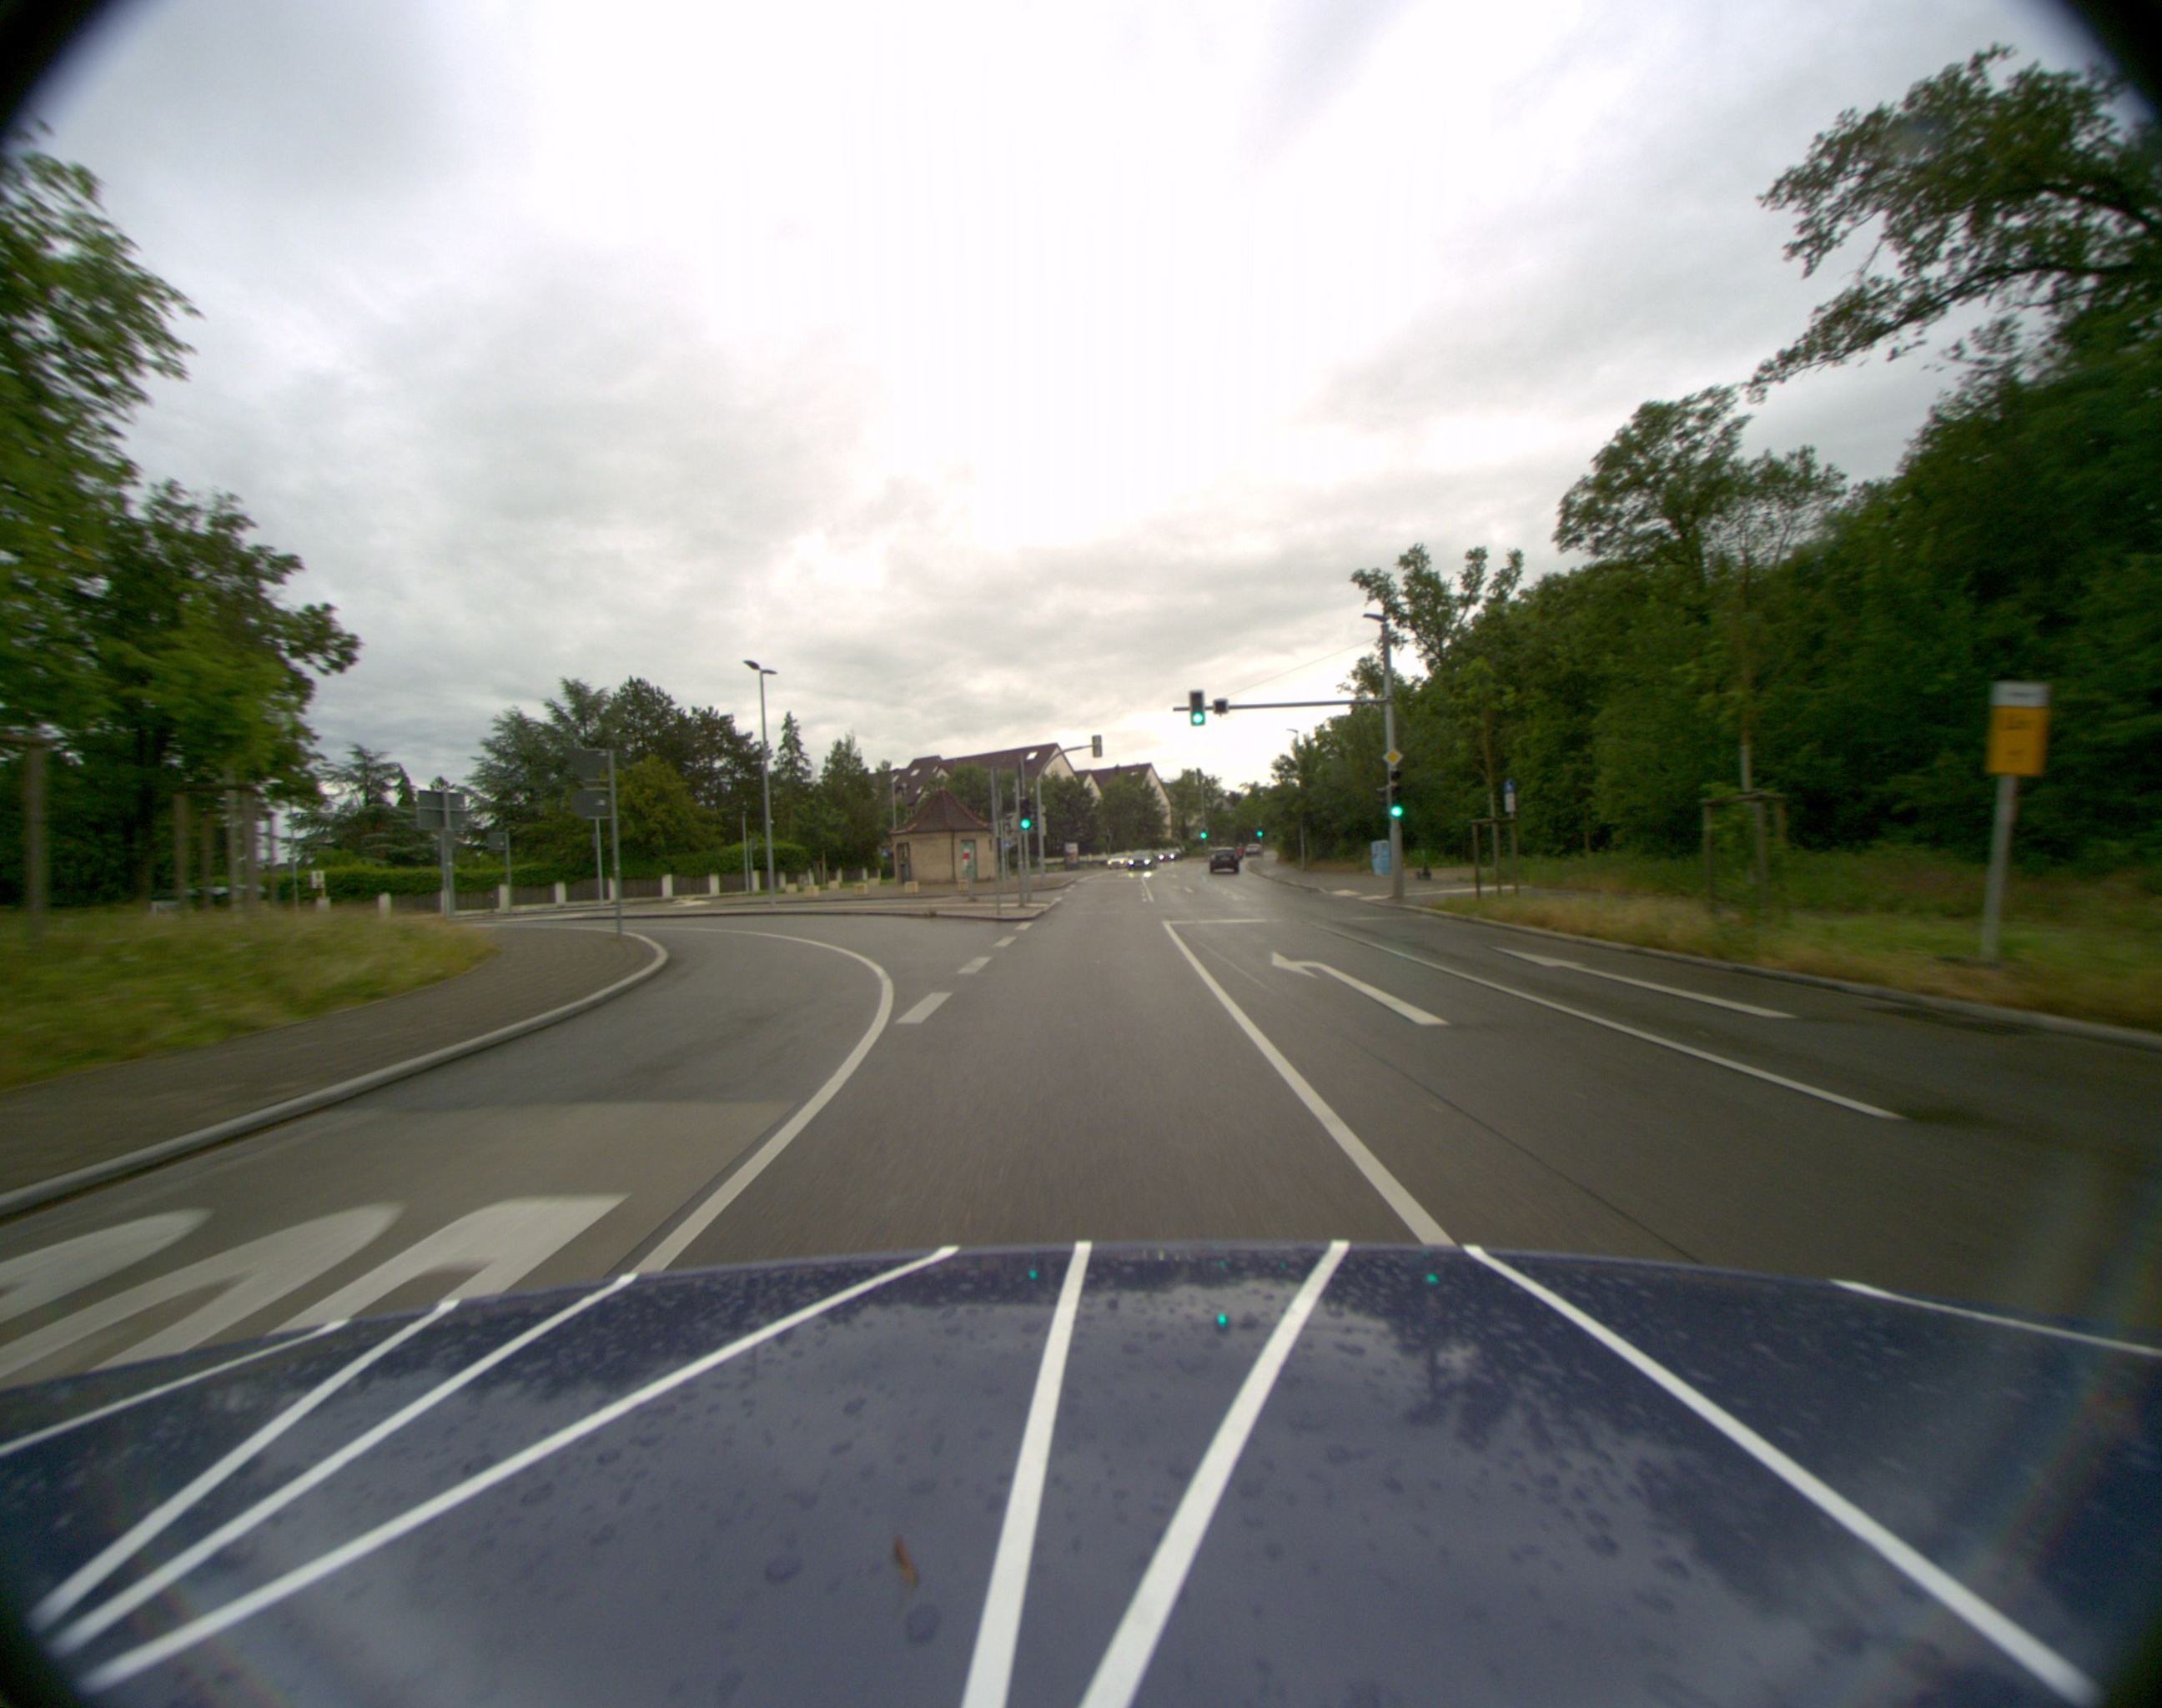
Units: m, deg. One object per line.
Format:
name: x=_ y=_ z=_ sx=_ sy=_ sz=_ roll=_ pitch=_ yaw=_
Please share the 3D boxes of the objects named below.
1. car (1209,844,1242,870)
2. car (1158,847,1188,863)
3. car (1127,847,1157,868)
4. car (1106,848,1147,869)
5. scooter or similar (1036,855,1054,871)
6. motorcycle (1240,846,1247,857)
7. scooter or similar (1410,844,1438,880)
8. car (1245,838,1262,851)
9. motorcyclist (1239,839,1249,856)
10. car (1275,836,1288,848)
car: x=9.122 y=0.153 z=48.168 sx=1.792 sy=1.572 sz=4.563 roll=-2 pitch=1 yaw=8
car: x=9.822 y=0.092 z=80.970 sx=1.942 sy=1.594 sz=4.610 roll=-1 pitch=1 yaw=24
car: x=4.559 y=0.232 z=56.497 sx=1.944 sy=1.446 sz=4.605 roll=-2 pitch=1 yaw=7
car: x=3.936 y=0.350 z=65.084 sx=1.942 sy=1.594 sz=4.610 roll=-1 pitch=1 yaw=24
scooter or similar: x=-3.186 y=0.797 z=66.639 sx=1.350 sy=1.200 sz=0.525 roll=-6 pitch=1 yaw=18
motorcycle: x=15.785 y=-0.262 z=73.830 sx=0.595 sy=1.044 sz=2.000 roll=-2 pitch=1 yaw=10
scooter or similar: x=12.329 y=0.269 z=27.358 sx=0.518 sy=1.205 sz=1.470 roll=-3 pitch=1 yaw=9
car: x=19.426 y=-1.044 z=85.632 sx=1.743 sy=1.344 sz=4.213 roll=-1 pitch=1 yaw=12
motorcyclist: x=15.820 y=-0.593 z=73.838 sx=0.747 sy=1.623 sz=0.927 roll=-2 pitch=1 yaw=5
car: x=28.572 y=-1.718 z=108.347 sx=1.578 sy=1.721 sz=3.779 roll=-1 pitch=1 yaw=18
